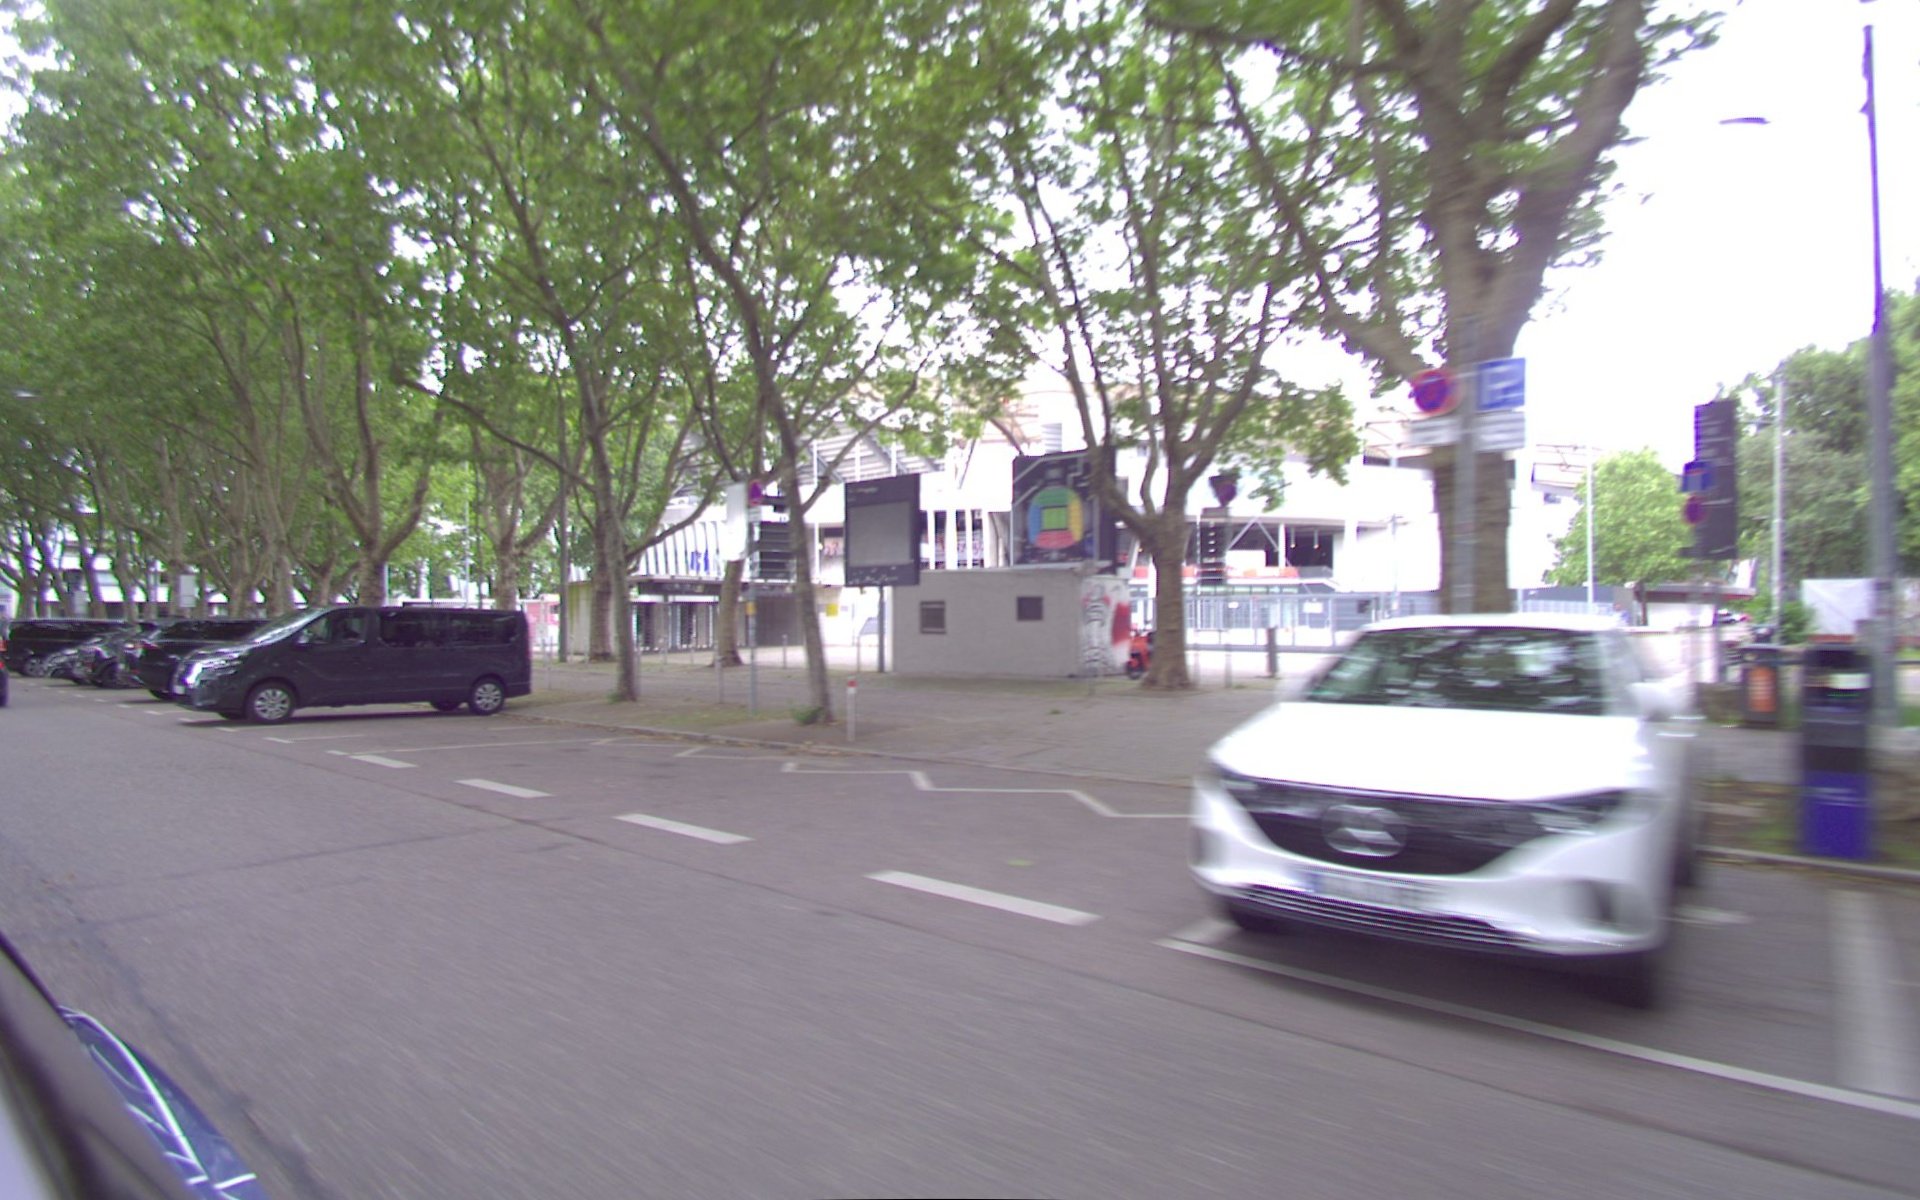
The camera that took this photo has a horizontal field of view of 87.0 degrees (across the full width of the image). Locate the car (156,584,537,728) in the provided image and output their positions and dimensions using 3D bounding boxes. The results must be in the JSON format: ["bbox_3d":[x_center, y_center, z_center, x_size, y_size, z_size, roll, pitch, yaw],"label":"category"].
[{"bbox_3d":[-10.522,0.979,17.839,1.938,2.144,5.382,-3,-4,39],"label":"car"}]

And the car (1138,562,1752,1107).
[{"bbox_3d":[2.873,0.797,5.348,1.998,1.609,4.337,-2,-3,39],"label":"car"}]

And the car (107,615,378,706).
[{"bbox_3d":[-15.909,1.362,22.659,1.805,1.834,4.605,-3,-5,40],"label":"car"}]

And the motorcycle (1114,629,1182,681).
[{"bbox_3d":[4.298,1.238,23.062,0.739,1.151,1.637,-2,-3,44],"label":"motorcycle"}]

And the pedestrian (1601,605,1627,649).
[{"bbox_3d":[26.320,1.069,40.734,0.764,1.738,0.652,-2,-1,40],"label":"pedestrian"}]

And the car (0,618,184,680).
[{"bbox_3d":[-29.532,1.629,34.213,2.207,1.939,4.854,-2,-3,41],"label":"car"}]

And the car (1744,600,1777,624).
[{"bbox_3d":[72.155,1.120,91.194,2.191,1.916,4.632,-3,-4,39],"label":"car"}]

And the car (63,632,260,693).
[{"bbox_3d":[-21.584,1.673,27.472,1.752,1.505,3.859,-1,-4,38],"label":"car"}]

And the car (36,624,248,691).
[{"bbox_3d":[-23.605,1.671,29.348,1.797,1.795,4.529,-3,-5,42],"label":"car"}]

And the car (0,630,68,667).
[{"bbox_3d":[-44.575,2.261,47.093,1.758,1.630,4.467,-2,-2,43],"label":"car"}]
